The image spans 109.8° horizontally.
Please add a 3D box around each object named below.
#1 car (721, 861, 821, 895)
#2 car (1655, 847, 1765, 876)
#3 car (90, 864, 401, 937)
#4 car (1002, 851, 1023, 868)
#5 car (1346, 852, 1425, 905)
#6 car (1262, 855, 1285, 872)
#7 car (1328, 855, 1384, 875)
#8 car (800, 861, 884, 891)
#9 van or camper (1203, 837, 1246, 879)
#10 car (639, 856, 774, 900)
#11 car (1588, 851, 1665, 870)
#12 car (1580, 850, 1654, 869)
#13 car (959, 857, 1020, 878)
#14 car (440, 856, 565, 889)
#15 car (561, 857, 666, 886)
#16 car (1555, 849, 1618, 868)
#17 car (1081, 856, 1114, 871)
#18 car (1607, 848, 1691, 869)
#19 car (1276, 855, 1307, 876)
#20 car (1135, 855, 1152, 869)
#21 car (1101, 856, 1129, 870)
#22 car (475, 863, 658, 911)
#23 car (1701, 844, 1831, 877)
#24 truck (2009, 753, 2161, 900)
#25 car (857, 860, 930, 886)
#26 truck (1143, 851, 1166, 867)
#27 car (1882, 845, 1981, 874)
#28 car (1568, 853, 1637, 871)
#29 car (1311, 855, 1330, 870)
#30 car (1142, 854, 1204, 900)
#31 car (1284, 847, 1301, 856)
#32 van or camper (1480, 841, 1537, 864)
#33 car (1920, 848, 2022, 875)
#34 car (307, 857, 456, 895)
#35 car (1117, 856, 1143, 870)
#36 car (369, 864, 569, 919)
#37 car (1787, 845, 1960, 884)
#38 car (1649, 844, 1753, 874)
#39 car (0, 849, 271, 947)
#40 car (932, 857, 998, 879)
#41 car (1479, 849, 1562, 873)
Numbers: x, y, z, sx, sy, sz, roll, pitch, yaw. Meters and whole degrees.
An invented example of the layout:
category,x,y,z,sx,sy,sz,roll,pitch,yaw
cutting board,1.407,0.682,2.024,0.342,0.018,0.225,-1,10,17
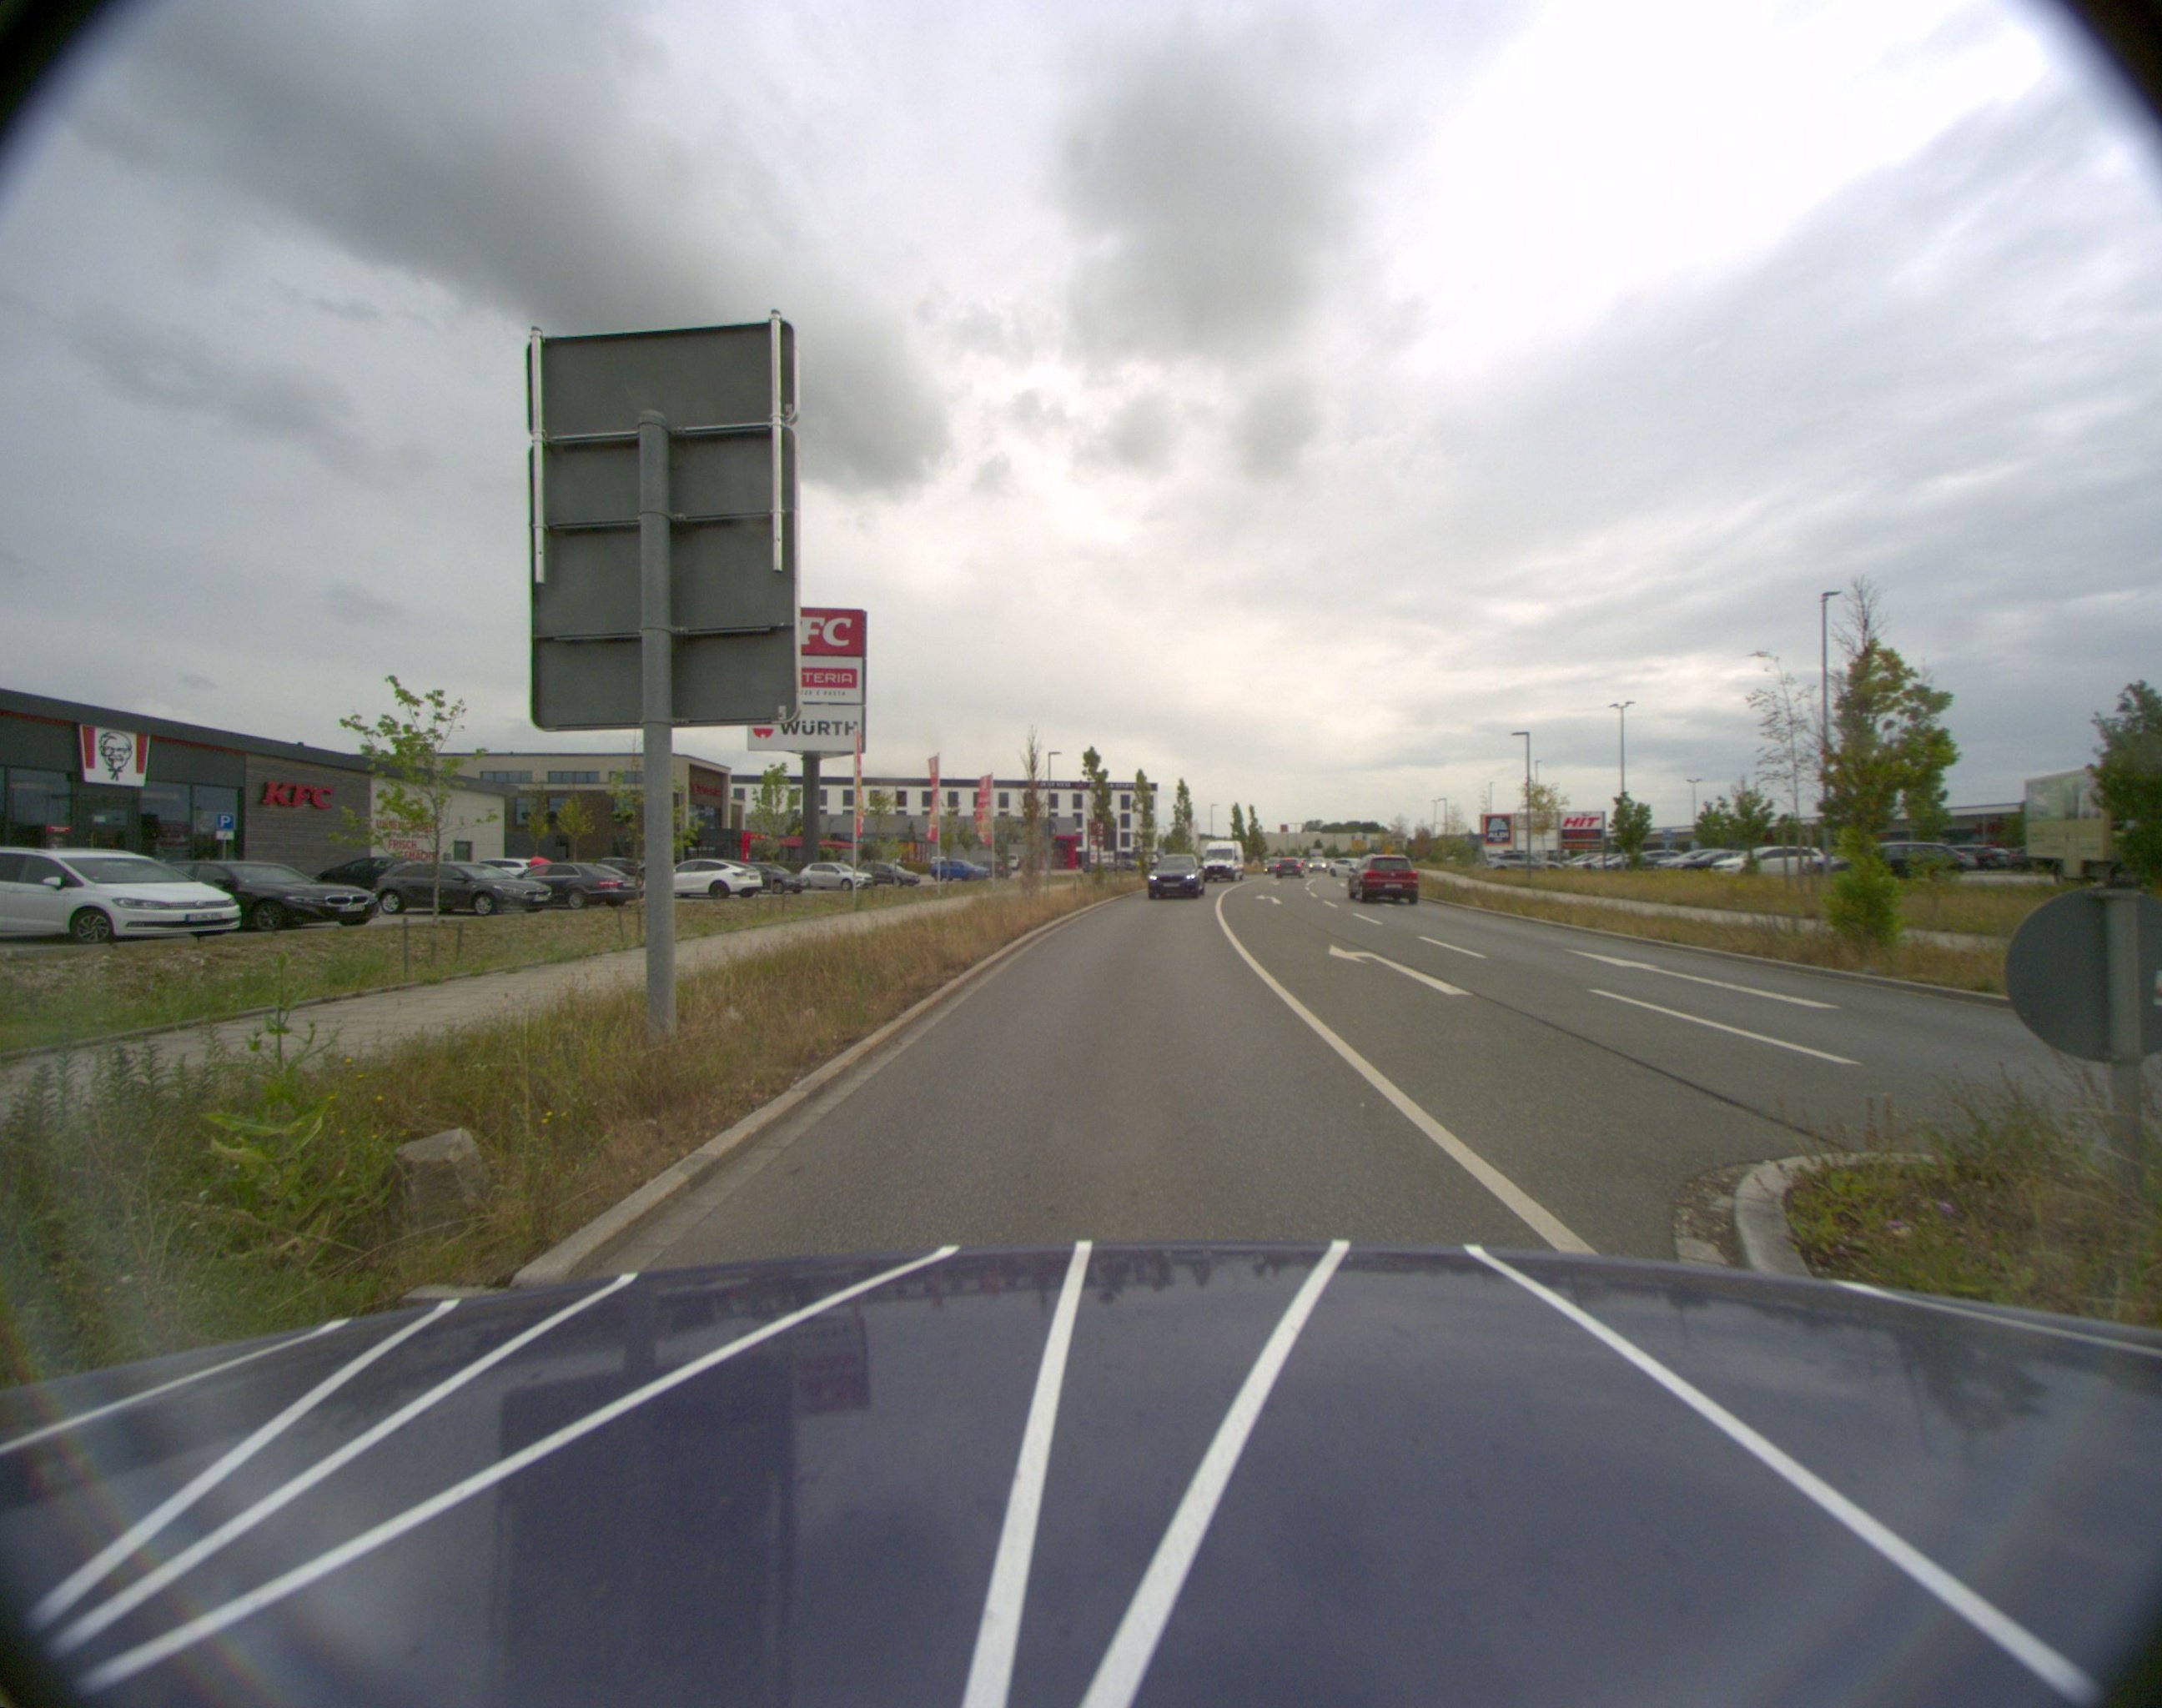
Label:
category,x,y,z,sx,sy,sz,roll,pitch,yaw
car,-14.682,1.109,36.053,3.992,1.476,1.942,0,1,15
car,34.643,0.428,41.988,4.246,1.504,2.049,-1,0,21
car,-17.622,0.944,16.200,4.478,1.428,2.074,0,0,3
car,-8.352,0.678,92.507,2.000,1.975,4.632,0,0,-11
car,10.567,0.801,26.691,1.801,1.659,4.331,2,0,12
car,18.022,0.885,71.255,1.755,1.575,4.003,-1,0,9
car,20.939,0.803,58.065,1.887,1.460,4.186,-1,0,-18
car,-12.749,1.134,40.607,3.866,1.473,1.905,1,0,16
van or camper,9.386,0.276,49.472,2.261,2.601,5.704,0,0,16
car,-15.217,0.942,30.992,4.568,1.635,2.090,1,0,11
car,40.897,0.486,57.069,4.318,1.332,2.030,0,0,18
car,42.077,0.429,59.781,4.369,1.496,2.243,0,0,21
car,-6.825,1.010,56.751,3.990,1.485,1.985,0,0,23
car,-28.430,0.900,37.430,4.572,1.510,2.081,1,0,1
car,-25.897,0.958,42.201,4.573,1.510,1.977,1,0,-1
car,44.944,0.419,67.654,4.305,1.645,2.084,0,0,19
car,1.745,0.946,77.421,1.964,1.451,4.839,0,0,20
car,39.704,0.328,53.244,4.361,1.383,2.169,0,0,23
car,14.863,0.799,53.538,1.831,1.411,4.252,-1,0,20
car,7.802,0.951,94.828,1.765,1.676,4.415,0,0,9
car,3.771,0.997,82.709,1.866,1.428,4.887,0,0,18
car,-16.140,1.006,23.993,4.526,1.460,2.033,0,0,6
car,33.148,0.329,36.900,4.253,1.550,1.991,0,0,12
truck,29.222,-0.698,20.989,2.851,3.520,8.447,-1,0,39
car,-11.152,1.095,45.157,3.762,1.485,1.892,0,0,18
truck,10.855,0.745,111.375,2.230,2.312,8.223,0,0,13
car,54.071,0.336,48.420,1.998,1.805,4.001,0,0,4
car,43.117,0.633,62.956,4.323,1.448,2.014,0,0,20
car,22.928,0.791,72.862,1.704,1.429,4.038,0,0,17
car,3.647,0.858,29.480,1.997,1.654,4.004,-1,-1,12
car,52.739,-0.661,189.502,4.003,2.002,1.640,-1,0,-18
van or camper,52.954,-0.137,94.233,5.861,2.783,2.245,0,1,12
car,56.767,0.467,48.579,1.910,1.677,4.001,0,0,2
car,-29.432,0.895,32.088,4.375,1.510,2.047,1,0,-1
car,5.759,1.039,88.695,1.996,1.488,4.613,0,1,16
car,-16.886,1.011,21.105,4.092,1.429,1.944,0,0,4
car,30.782,0.418,29.676,4.237,1.426,2.000,0,0,15
car,36.076,0.294,44.313,4.247,1.713,2.031,-1,0,17
car,-17.796,0.747,13.681,4.358,1.630,1.938,0,0,0
car,-8.328,1.001,54.548,4.266,1.511,1.968,0,0,20
car,29.608,0.457,51.367,4.601,1.552,2.003,0,0,23
